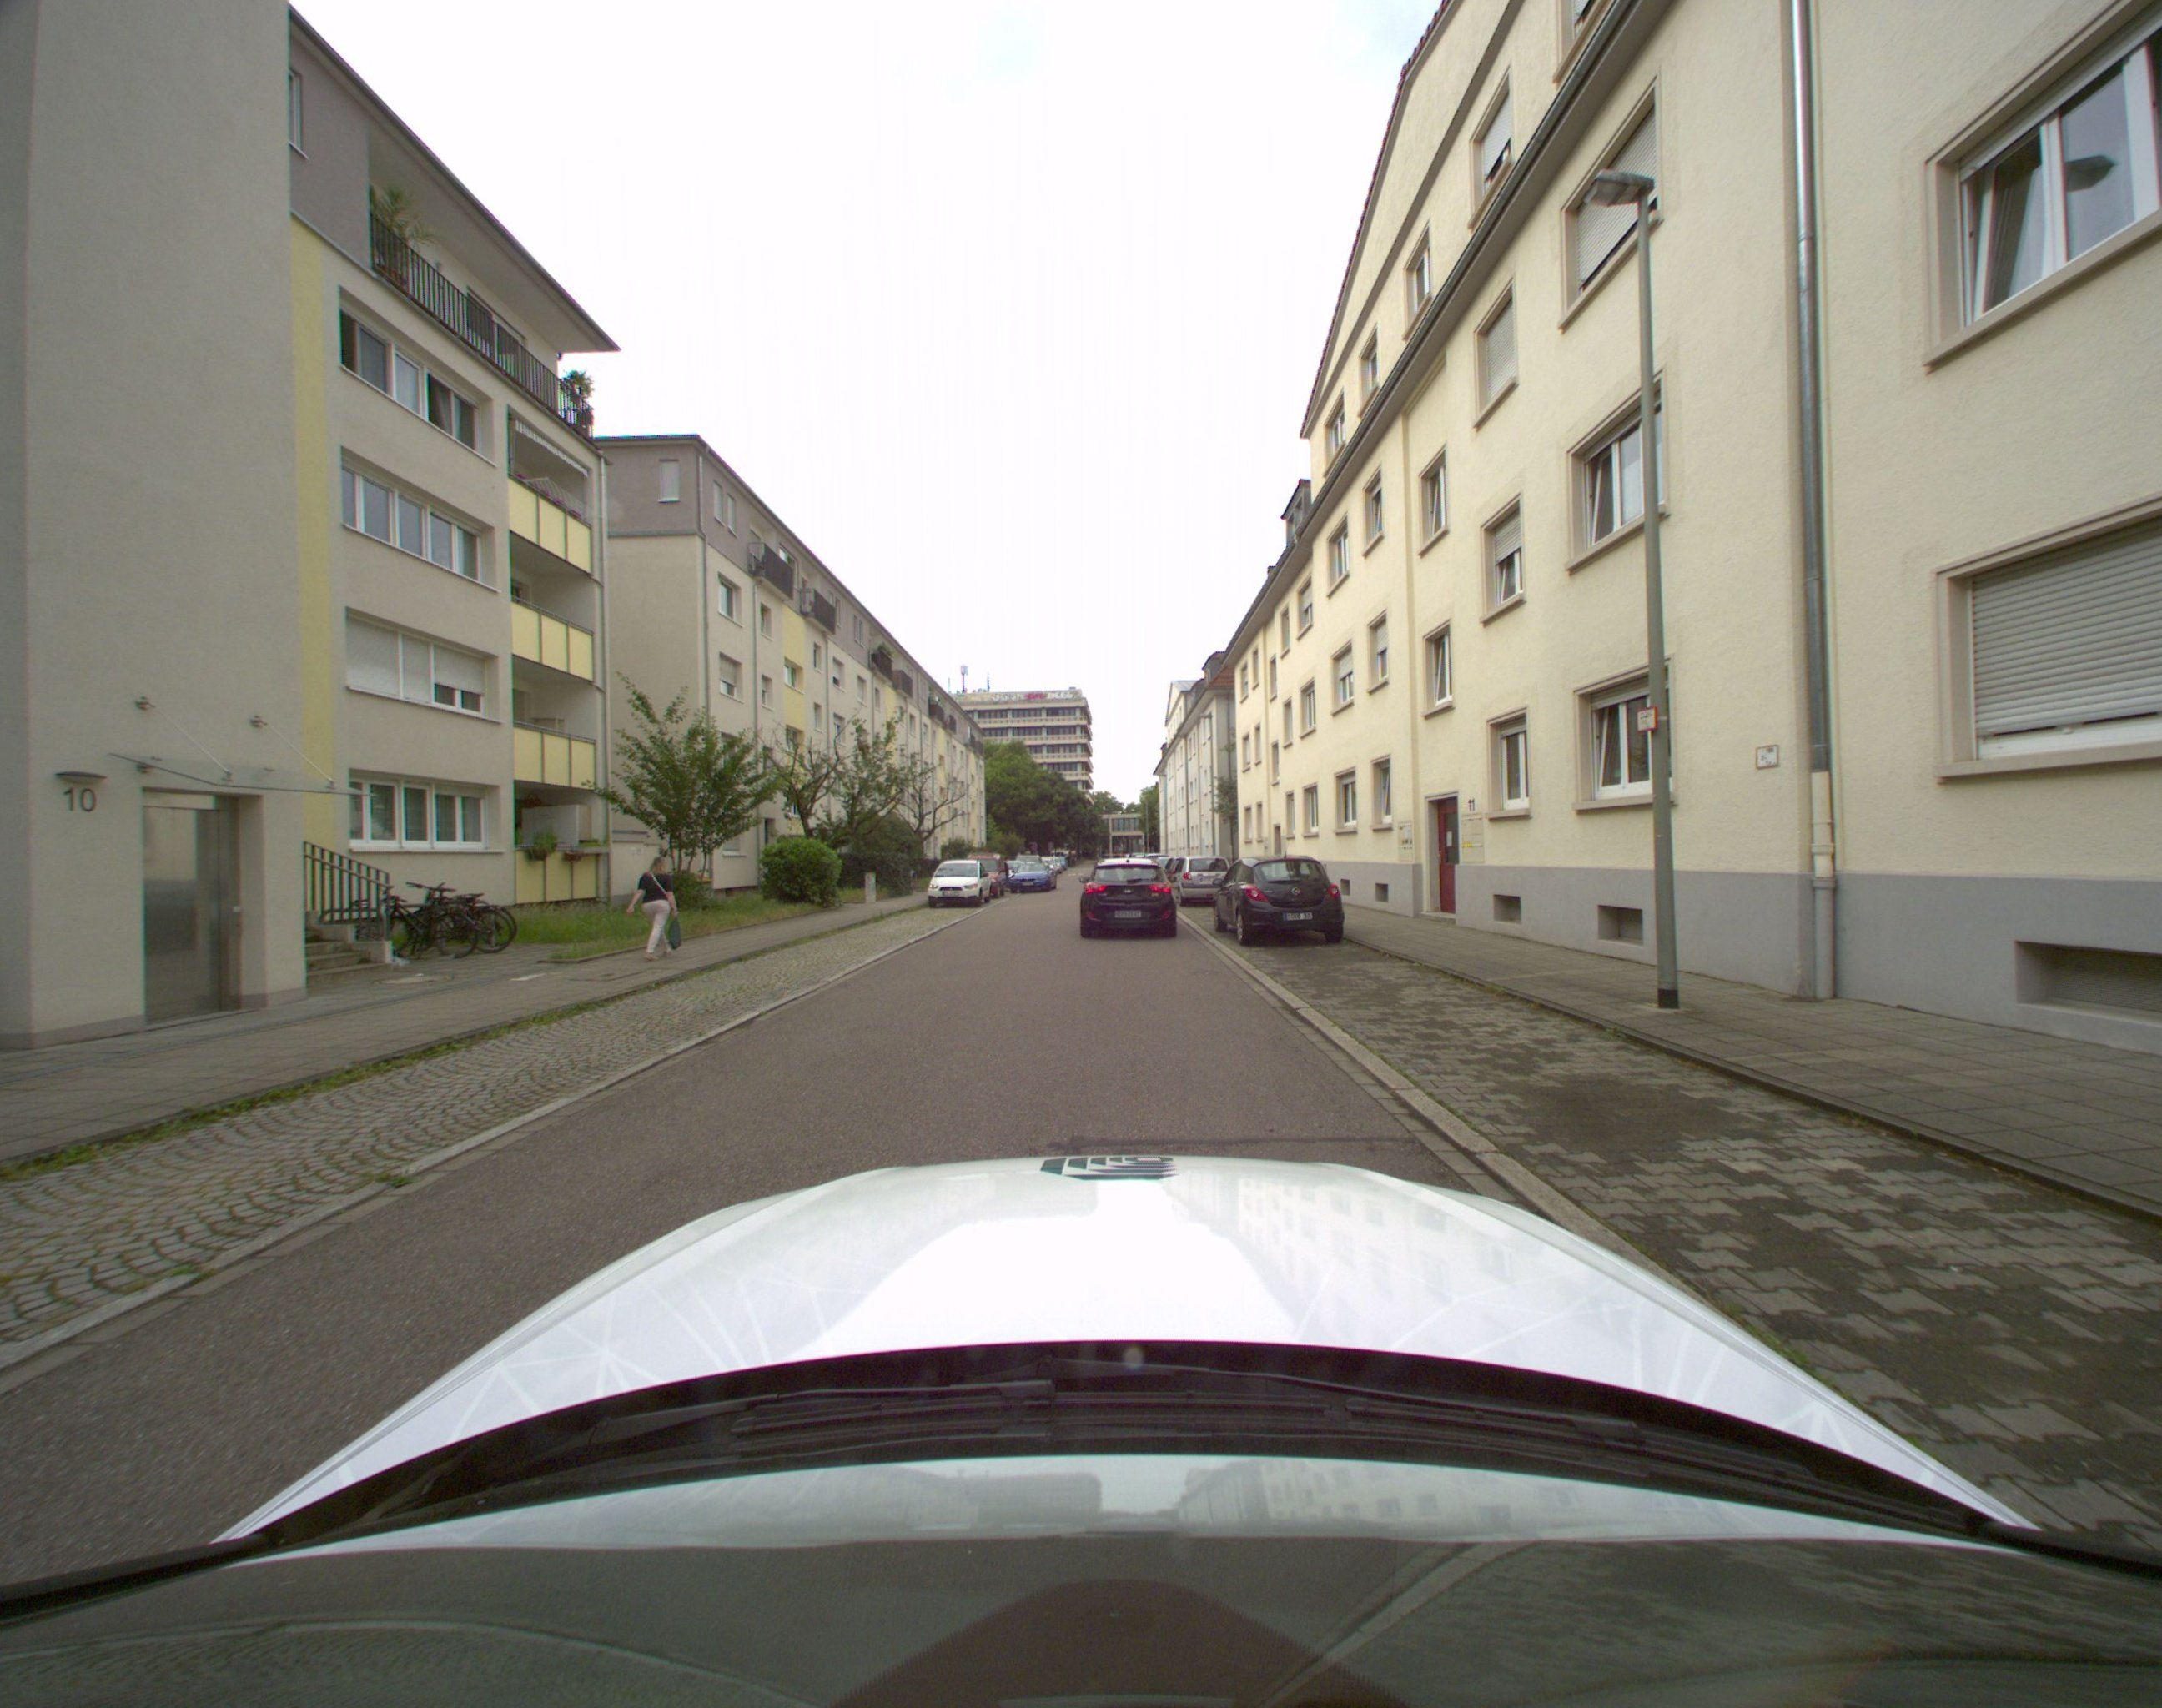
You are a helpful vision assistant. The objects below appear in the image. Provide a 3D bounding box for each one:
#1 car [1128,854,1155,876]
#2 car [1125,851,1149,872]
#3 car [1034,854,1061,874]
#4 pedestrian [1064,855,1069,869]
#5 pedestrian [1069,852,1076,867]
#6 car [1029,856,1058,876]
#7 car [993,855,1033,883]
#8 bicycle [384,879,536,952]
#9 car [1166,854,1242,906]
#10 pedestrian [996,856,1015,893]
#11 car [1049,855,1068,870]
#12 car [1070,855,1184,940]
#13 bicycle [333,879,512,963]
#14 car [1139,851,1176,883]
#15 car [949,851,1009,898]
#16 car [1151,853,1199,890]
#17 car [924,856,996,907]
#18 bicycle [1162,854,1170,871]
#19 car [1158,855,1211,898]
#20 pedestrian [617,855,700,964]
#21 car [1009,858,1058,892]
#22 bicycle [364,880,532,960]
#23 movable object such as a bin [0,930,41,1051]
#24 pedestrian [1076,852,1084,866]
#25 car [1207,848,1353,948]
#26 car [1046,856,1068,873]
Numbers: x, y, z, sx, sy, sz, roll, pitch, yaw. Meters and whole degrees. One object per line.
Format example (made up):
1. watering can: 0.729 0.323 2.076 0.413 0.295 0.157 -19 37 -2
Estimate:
1. car: 4.472 0.783 60.572 1.813 1.503 4.093 -2 -1 2
2. car: 4.485 0.579 65.382 1.813 1.603 4.093 -1 0 2
3. car: -2.772 0.842 68.048 1.888 1.599 4.522 1 0 1
4. pedestrian: -1.797 0.991 101.663 0.602 1.831 0.676 -1 0 3
5. pedestrian: -1.059 0.703 101.518 0.711 1.831 0.798 -1 0 3
6. car: -2.799 0.892 61.874 1.888 1.452 4.522 1 0 1
7. car: -3.690 0.794 44.866 1.738 1.464 3.787 -2 0 1
8. bicycle: -10.462 1.019 13.757 2.017 1.141 0.623 -1 0 -2
9. car: 3.692 0.740 25.054 1.842 1.450 3.834 -1 0 2
10. pedestrian: -3.562 0.950 38.354 0.742 1.701 0.792 -2 0 -16
11. car: -2.471 0.937 88.679 1.987 1.541 3.998 0 0 -1
12. car: 1.057 0.765 16.365 1.892 1.433 4.242 -2 0 8
13. bicycle: -9.857 0.984 12.251 2.022 1.141 0.621 -1 0 -9
14. car: 4.128 0.652 44.434 1.813 1.642 4.093 -1 0 2
15. car: -4.071 0.770 33.208 1.951 1.770 4.360 0 0 -1
16. car: 4.001 0.702 35.300 1.718 1.476 4.506 -1 0 2
17. car: -3.979 0.867 27.367 1.714 1.570 3.871 0 0 1
18. bicycle: 6.145 0.635 58.823 0.527 1.175 2.041 -3 0 8
19. car: 3.830 0.797 30.542 1.597 1.476 3.870 0 0 2
20. pedestrian: -6.574 0.836 12.724 0.798 1.610 0.946 -1 0 -3
21. car: -2.172 0.946 38.376 1.838 1.451 4.504 -1 0 3
22. bicycle: -9.961 1.016 12.876 2.022 1.141 0.621 -1 0 -9
23. movable object such as a bin: -9.102 1.127 6.545 0.634 0.965 0.652 -1 0 1
24. pedestrian: -0.116 0.586 101.418 0.968 1.654 0.981 -2 0 2
25. car: 3.444 0.688 14.857 1.719 1.517 4.062 -2 0 1
26. car: -2.228 0.953 76.369 1.987 1.541 3.998 0 0 -1
